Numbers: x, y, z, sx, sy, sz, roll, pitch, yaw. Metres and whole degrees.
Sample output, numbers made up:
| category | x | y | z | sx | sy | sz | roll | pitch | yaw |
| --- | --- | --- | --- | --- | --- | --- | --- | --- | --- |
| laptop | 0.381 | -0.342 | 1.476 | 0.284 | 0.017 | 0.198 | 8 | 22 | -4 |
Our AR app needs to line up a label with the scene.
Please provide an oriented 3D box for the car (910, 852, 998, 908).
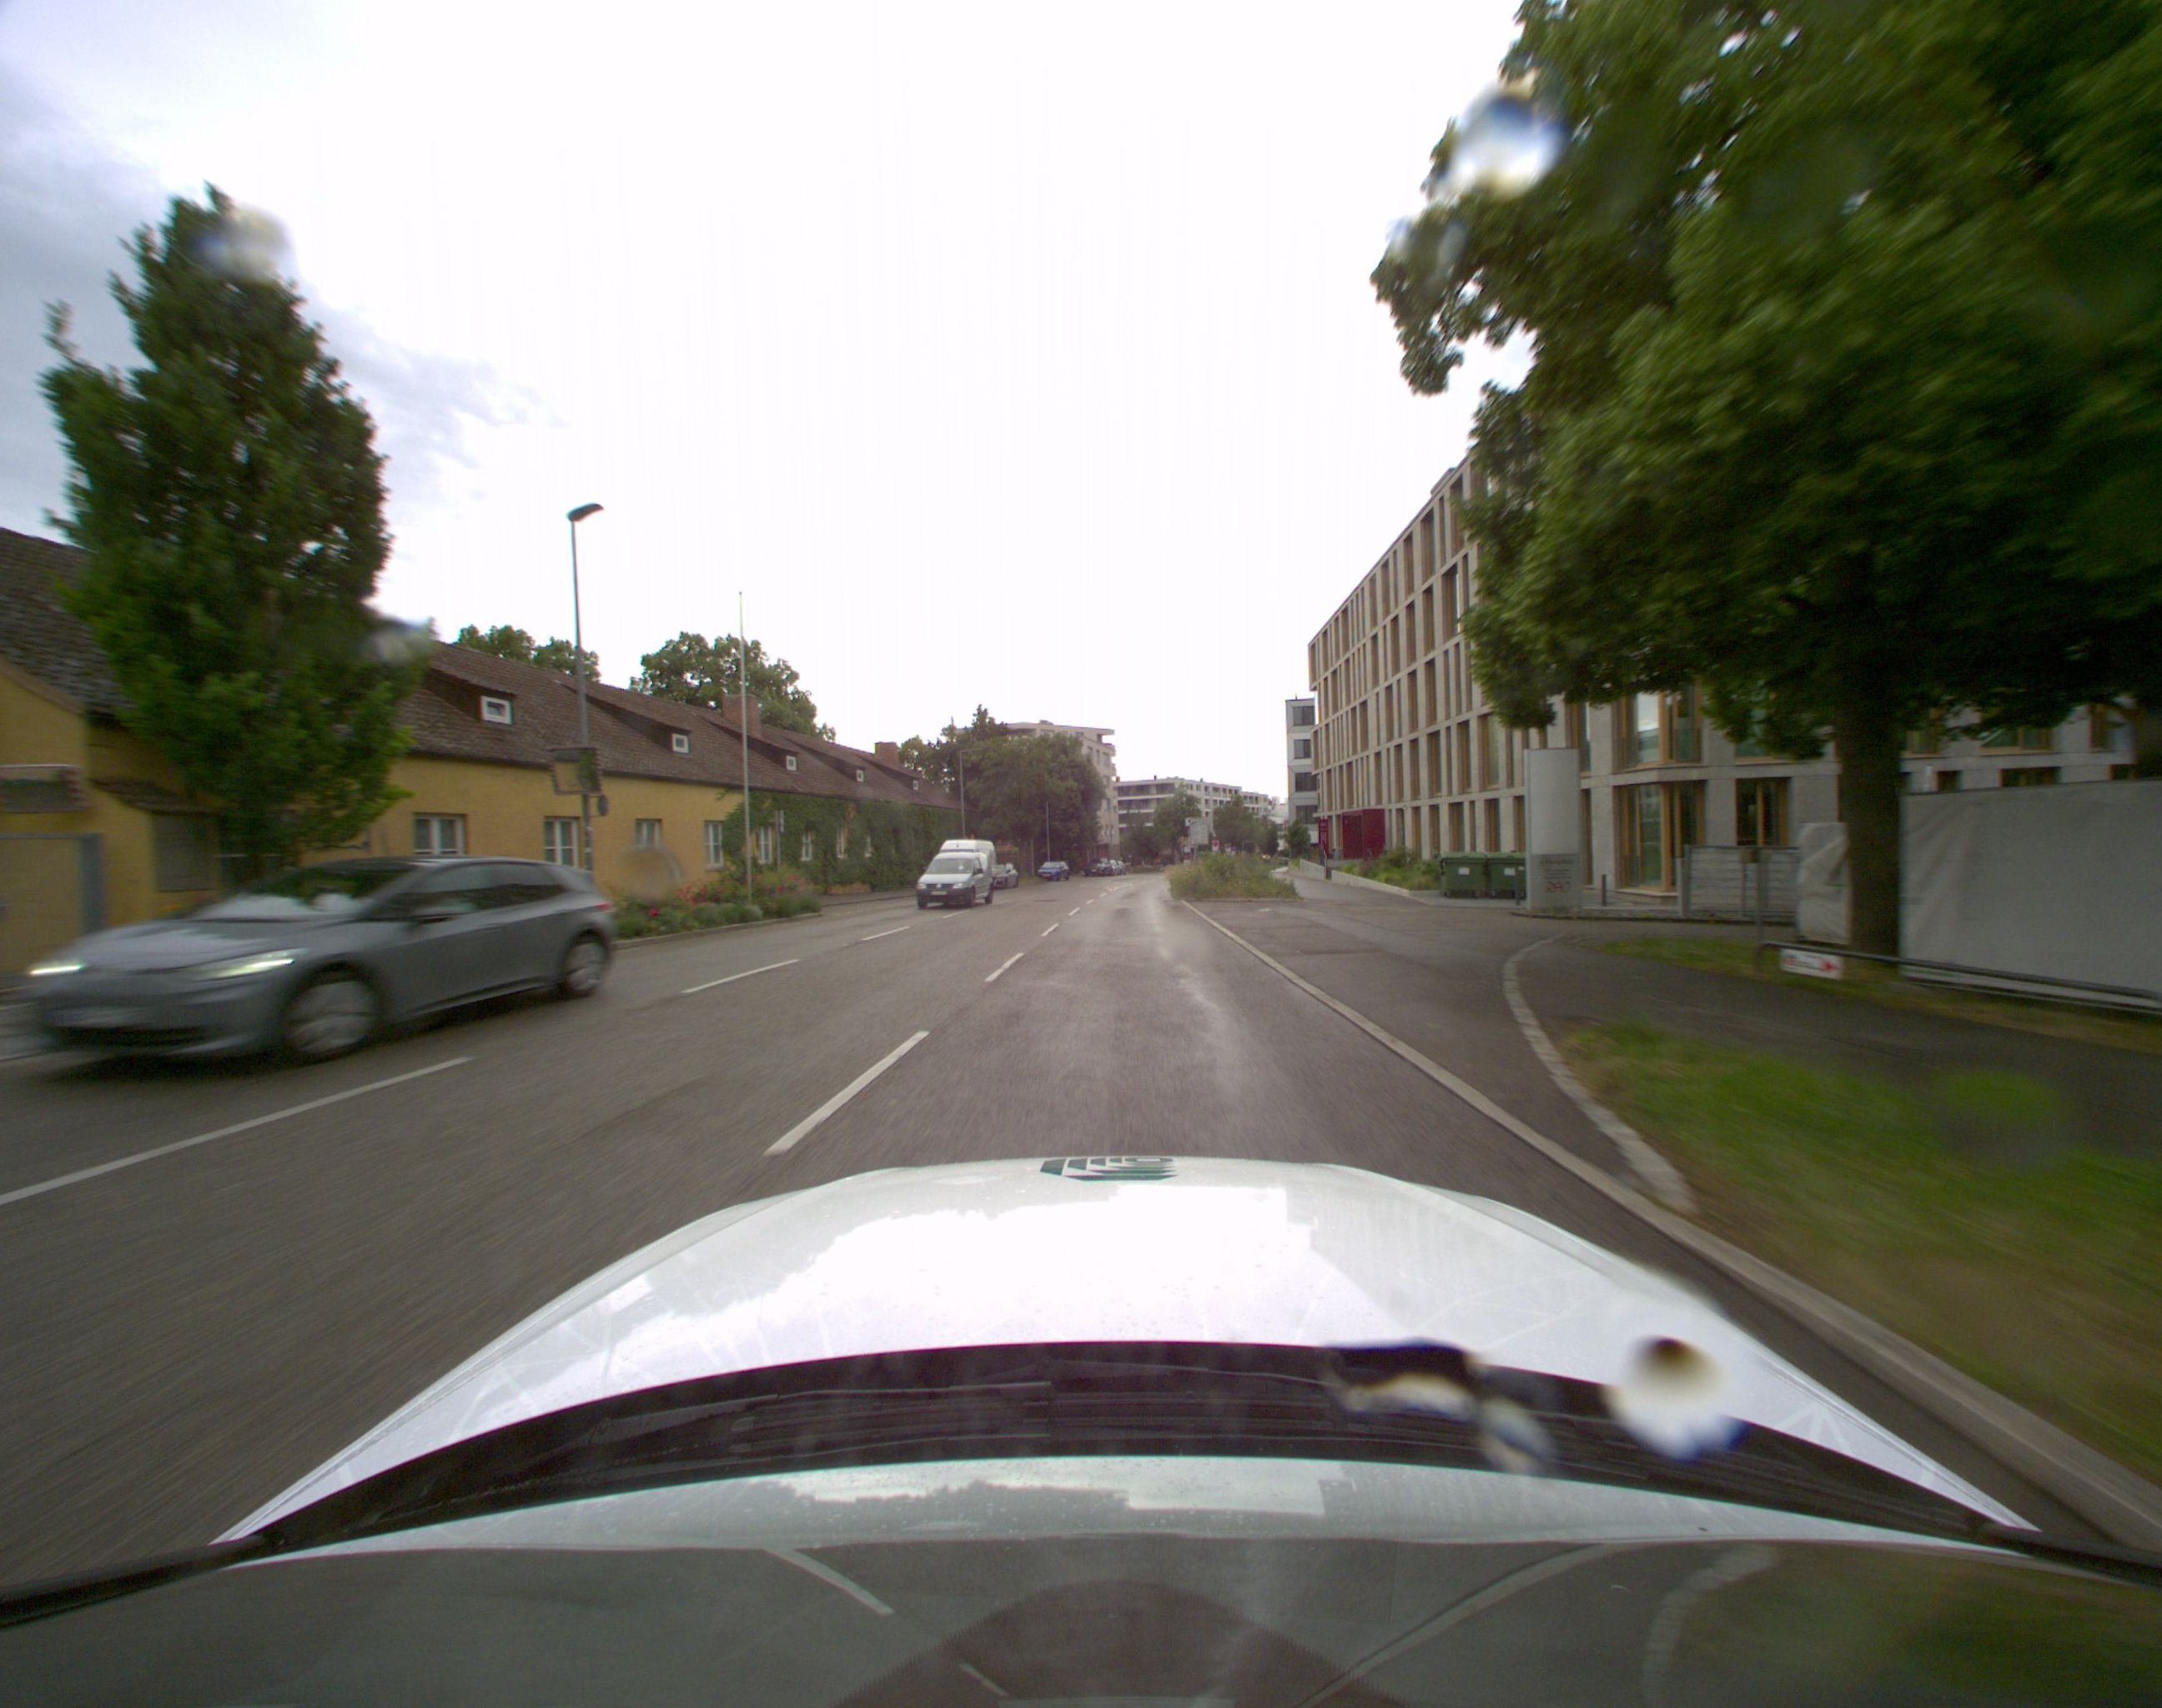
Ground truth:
| category | x | y | z | sx | sy | sz | roll | pitch | yaw |
| --- | --- | --- | --- | --- | --- | --- | --- | --- | --- |
| car | -4.097 | 0.802 | 27.068 | 1.886 | 1.705 | 4.515 | 0 | -1 | 5 |

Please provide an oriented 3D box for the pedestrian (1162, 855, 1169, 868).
| category | x | y | z | sx | sy | sz | roll | pitch | yaw |
| --- | --- | --- | --- | --- | --- | --- | --- | --- | --- |
| pedestrian | 13.486 | 1.182 | 129.604 | 1.050 | 2.014 | 1.101 | 0 | -1 | 6 |

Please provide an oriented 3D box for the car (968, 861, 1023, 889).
| category | x | y | z | sx | sy | sz | roll | pitch | yaw |
| --- | --- | --- | --- | --- | --- | --- | --- | --- | --- |
| car | -4.740 | 1.156 | 45.992 | 1.982 | 1.512 | 4.434 | -1 | -1 | 9 |

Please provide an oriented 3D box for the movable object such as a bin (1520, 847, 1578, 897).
| category | x | y | z | sx | sy | sz | roll | pitch | yaw |
| --- | --- | --- | --- | --- | --- | --- | --- | --- | --- |
| movable object such as a bin | 14.546 | 0.560 | 25.375 | 1.188 | 1.504 | 1.392 | -1 | -1 | 12 |

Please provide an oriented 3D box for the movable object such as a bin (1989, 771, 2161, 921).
| category | x | y | z | sx | sy | sz | roll | pitch | yaw |
| --- | --- | --- | --- | --- | --- | --- | --- | --- | --- |
| movable object such as a bin | 27.070 | -0.193 | 20.044 | 6.327 | 3.447 | 2.630 | 0 | -1 | 2 |

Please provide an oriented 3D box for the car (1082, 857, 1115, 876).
| category | x | y | z | sx | sy | sz | roll | pitch | yaw |
| --- | --- | --- | --- | --- | --- | --- | --- | --- | --- |
| car | 1.725 | 1.163 | 78.016 | 1.979 | 1.786 | 5.431 | -1 | -1 | 14 |

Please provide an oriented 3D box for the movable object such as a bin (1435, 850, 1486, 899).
| category | x | y | z | sx | sy | sz | roll | pitch | yaw |
| --- | --- | --- | --- | --- | --- | --- | --- | --- | --- |
| movable object such as a bin | 12.020 | 0.634 | 25.831 | 1.238 | 1.458 | 1.115 | 2 | 0 | 14 |

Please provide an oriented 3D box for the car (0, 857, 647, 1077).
| category | x | y | z | sx | sy | sz | roll | pitch | yaw |
| --- | --- | --- | --- | --- | --- | --- | --- | --- | --- |
| car | -6.358 | 0.773 | 7.686 | 1.874 | 1.458 | 4.474 | 0 | 0 | 4 |

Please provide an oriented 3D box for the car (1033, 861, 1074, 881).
| category | x | y | z | sx | sy | sz | roll | pitch | yaw |
| --- | --- | --- | --- | --- | --- | --- | --- | --- | --- |
| car | -2.016 | 1.251 | 61.199 | 1.979 | 1.470 | 4.202 | -1 | -1 | 15 |

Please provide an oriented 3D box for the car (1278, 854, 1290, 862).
| category | x | y | z | sx | sy | sz | roll | pitch | yaw |
| --- | --- | --- | --- | --- | --- | --- | --- | --- | --- |
| car | 40.210 | 0.877 | 161.097 | 1.531 | 1.478 | 3.683 | -1 | 1 | 28 |

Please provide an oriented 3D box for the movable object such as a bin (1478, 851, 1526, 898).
| category | x | y | z | sx | sy | sz | roll | pitch | yaw |
| --- | --- | --- | --- | --- | --- | --- | --- | --- | --- |
| movable object such as a bin | 13.276 | 0.645 | 25.719 | 1.090 | 1.399 | 1.154 | 2 | 0 | 14 |

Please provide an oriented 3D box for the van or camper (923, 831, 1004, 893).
| category | x | y | z | sx | sy | sz | roll | pitch | yaw |
| --- | --- | --- | --- | --- | --- | --- | --- | --- | --- |
| van or camper | -5.574 | 0.336 | 39.625 | 2.327 | 2.765 | 6.155 | 0 | 0 | 7 |

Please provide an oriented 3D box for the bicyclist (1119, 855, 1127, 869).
| category | x | y | z | sx | sy | sz | roll | pitch | yaw |
| --- | --- | --- | --- | --- | --- | --- | --- | --- | --- |
| bicyclist | 4.711 | 0.933 | 92.149 | 0.796 | 1.523 | 1.204 | -1 | -1 | 8 |
